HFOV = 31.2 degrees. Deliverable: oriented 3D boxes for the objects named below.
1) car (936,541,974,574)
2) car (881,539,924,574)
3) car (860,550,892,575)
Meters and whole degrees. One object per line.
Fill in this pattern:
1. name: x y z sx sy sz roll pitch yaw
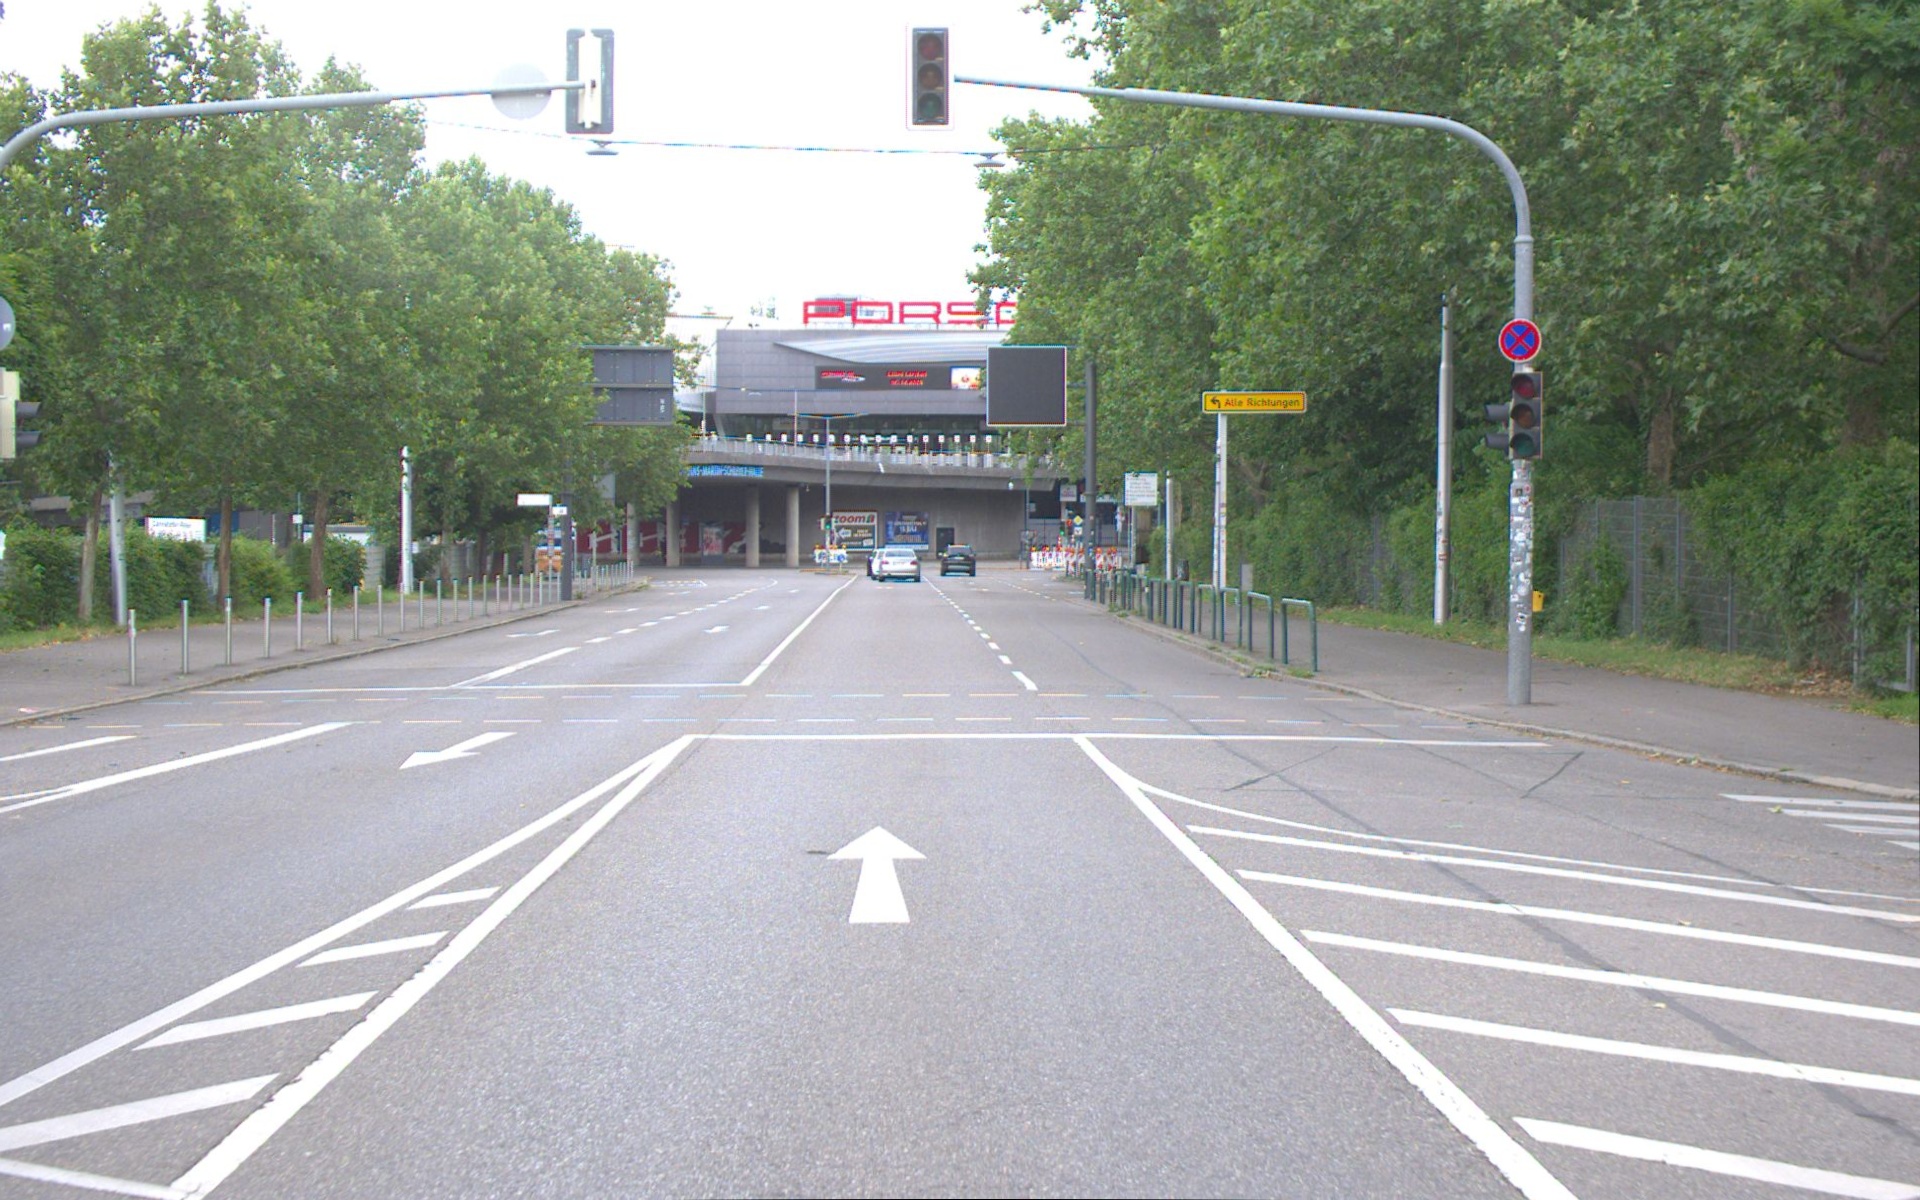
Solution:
1. car: -0.268 -2.289 184.922 2.007 1.693 4.069 1 1 0
2. car: -2.540 -1.933 152.068 1.778 1.455 3.822 2 1 0
3. car: -3.933 -1.774 161.151 1.411 1.109 3.038 1 1 -1
